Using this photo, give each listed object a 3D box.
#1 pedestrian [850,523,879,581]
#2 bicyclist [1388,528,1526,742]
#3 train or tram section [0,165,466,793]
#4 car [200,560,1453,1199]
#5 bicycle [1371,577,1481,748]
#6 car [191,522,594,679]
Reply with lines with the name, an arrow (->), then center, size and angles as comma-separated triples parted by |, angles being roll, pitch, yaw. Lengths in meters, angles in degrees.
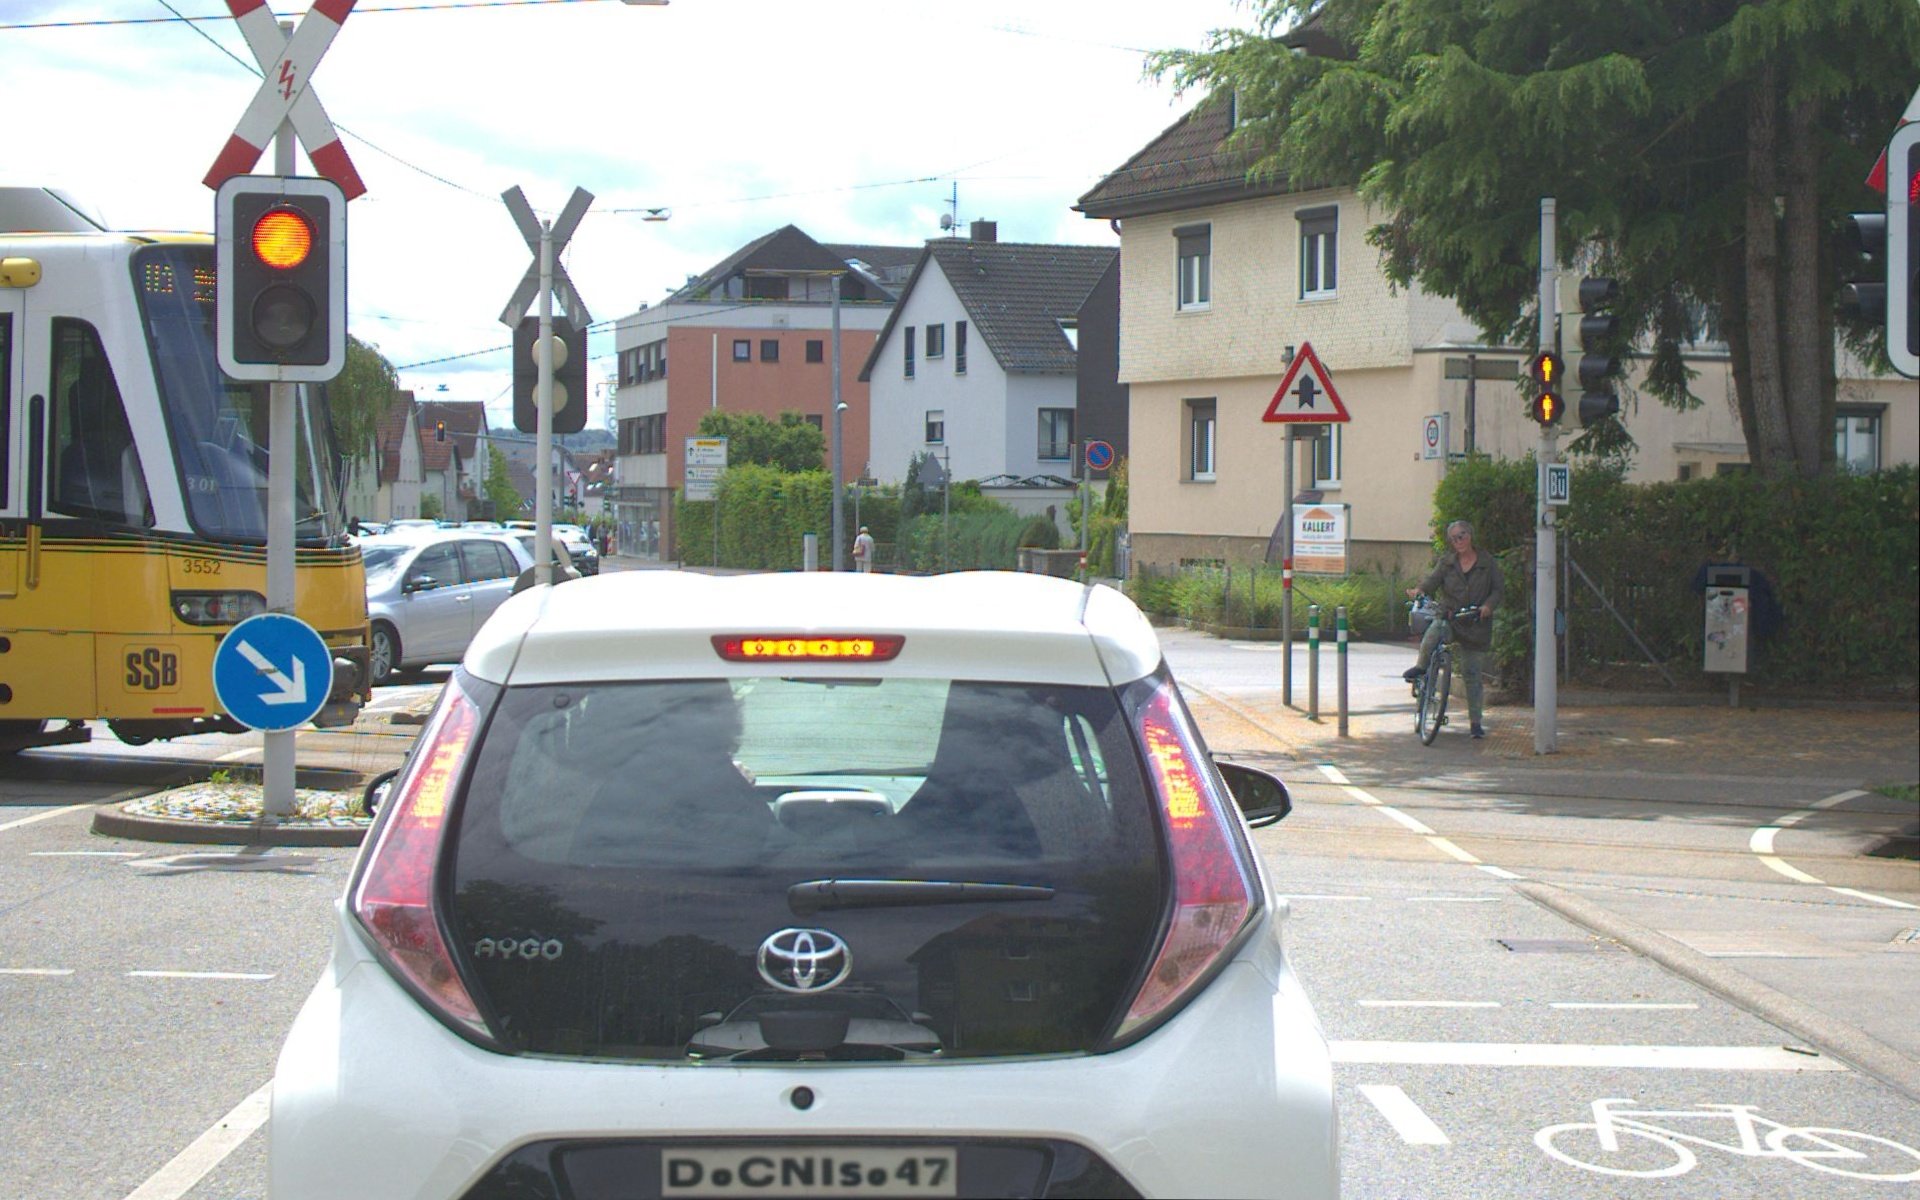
pedestrian -> -2.641, -1.323, 95.157 | 0.726, 1.571, 0.803 | 2, 1, 0
bicyclist -> 3.774, 0.256, 26.145 | 0.840, 1.548, 0.756 | -2, 3, -6
train or tram section -> -12.669, -1.018, 25.248 | 19.080, 3.691, 2.916 | 2, 2, 23
car -> -0.306, 0.666, 6.609 | 1.721, 1.437, 3.709 | 1, 1, -4
bicycle -> 3.539, 0.457, 26.169 | 0.457, 1.168, 1.480 | -2, 4, -6
car -> -5.658, -0.010, 34.766 | 1.908, 1.436, 4.092 | 2, 1, 28
